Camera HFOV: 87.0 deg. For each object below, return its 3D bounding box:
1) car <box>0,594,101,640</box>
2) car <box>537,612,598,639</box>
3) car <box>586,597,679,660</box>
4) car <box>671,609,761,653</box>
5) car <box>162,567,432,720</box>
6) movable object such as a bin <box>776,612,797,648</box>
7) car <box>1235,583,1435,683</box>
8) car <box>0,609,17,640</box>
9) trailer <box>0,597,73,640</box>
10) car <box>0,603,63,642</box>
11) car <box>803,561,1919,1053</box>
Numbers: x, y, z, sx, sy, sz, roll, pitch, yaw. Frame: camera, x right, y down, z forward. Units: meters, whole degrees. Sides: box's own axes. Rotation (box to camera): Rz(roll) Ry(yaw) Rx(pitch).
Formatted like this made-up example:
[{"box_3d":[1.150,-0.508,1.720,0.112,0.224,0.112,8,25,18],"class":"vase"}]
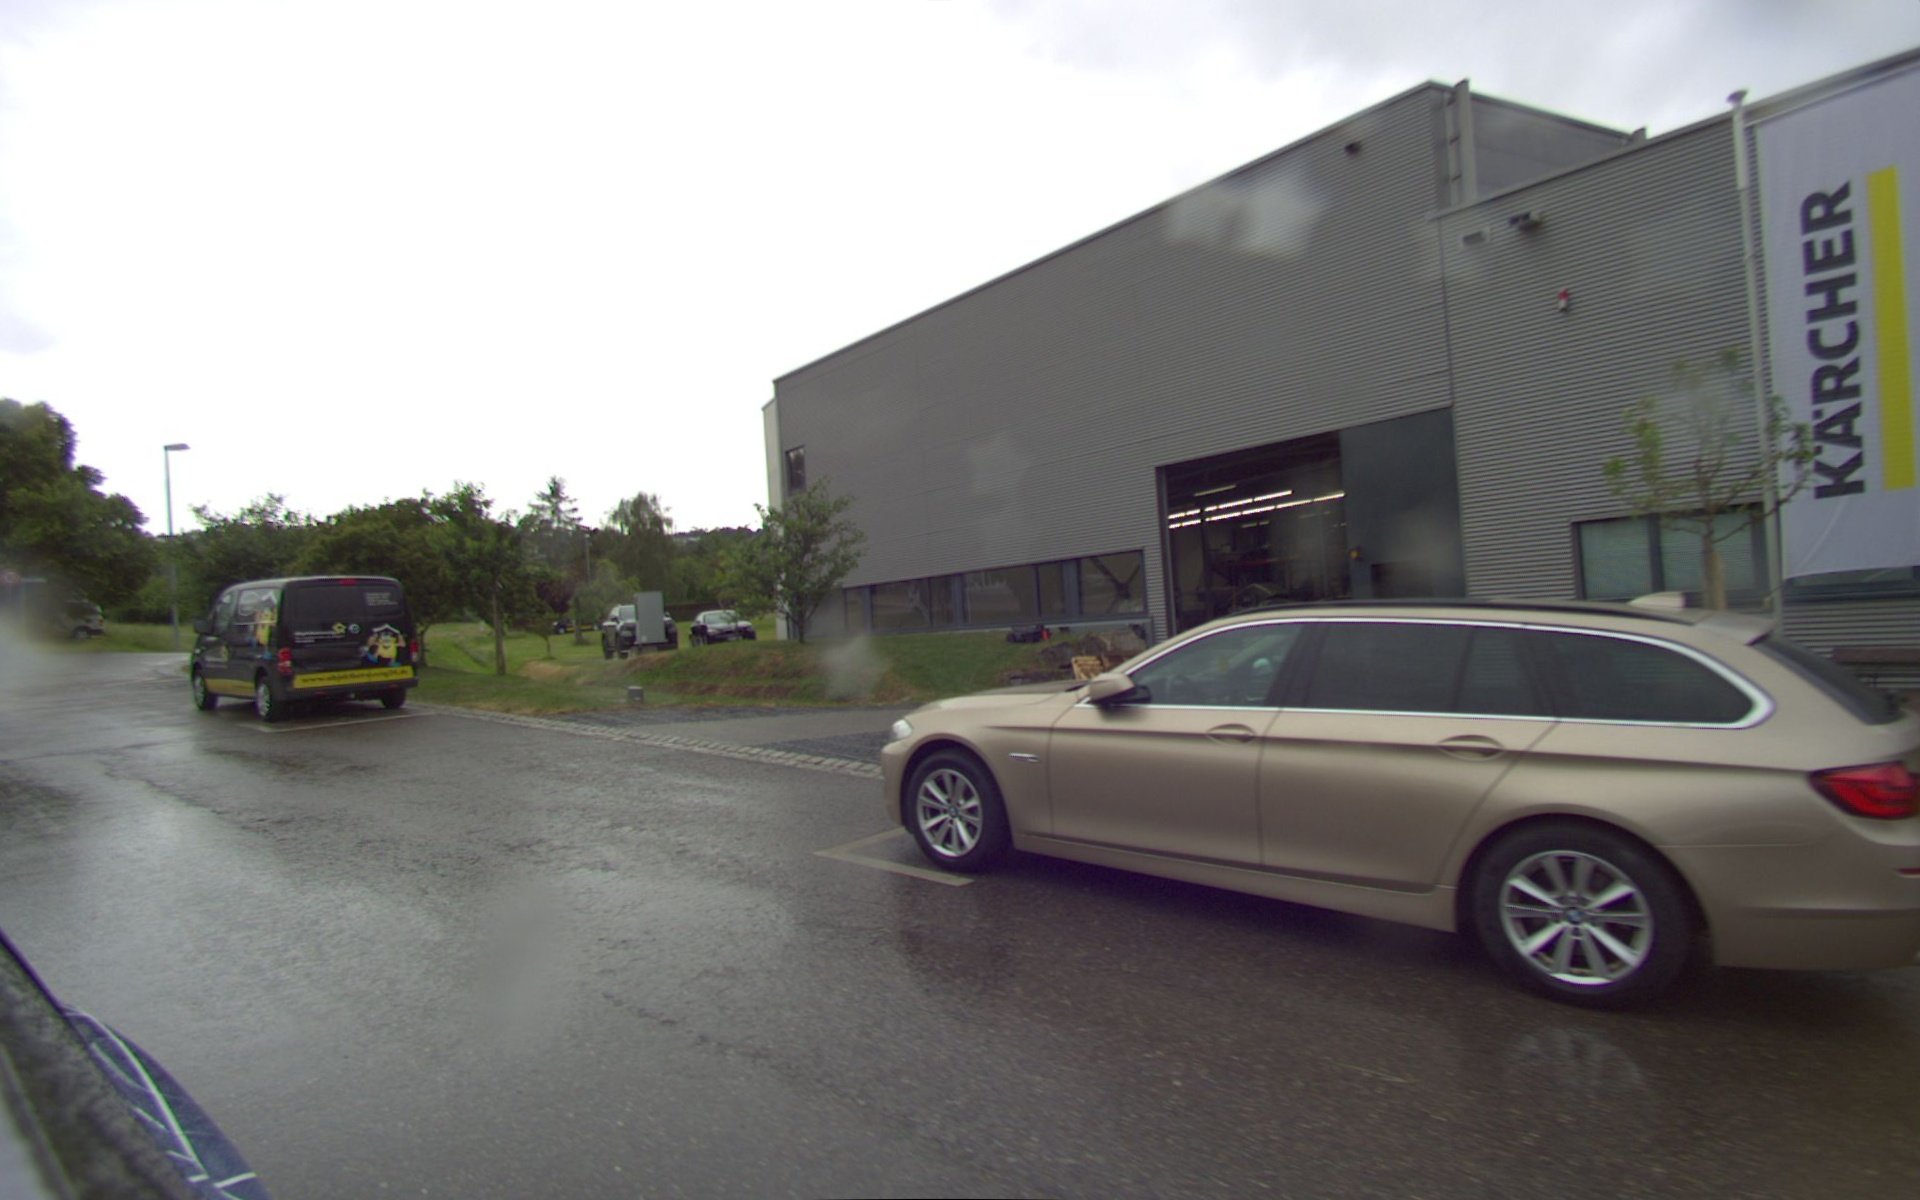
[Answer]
[{"box_3d":[-40.347,0.735,44.099,1.861,1.920,4.255,0,0,41],"class":"car"},{"box_3d":[-32.524,2.117,83.842,4.427,2.237,1.935,1,-2,-32],"class":"car"},{"box_3d":[-11.510,1.045,35.291,2.099,1.936,5.627,-2,-2,-28],"class":"car"},{"box_3d":[-8.657,1.053,35.622,1.965,1.407,4.705,0,-1,-28],"class":"car"},{"box_3d":[-9.605,0.536,14.495,4.843,1.845,1.896,-1,1,40],"class":"car"},{"box_3d":[-5.733,0.995,33.374,0.547,1.175,0.569,0,-2,-25],"class":"movable object such as a bin"},{"box_3d":[7.817,0.649,20.966,4.157,1.786,1.937,-2,-3,-39],"class":"car"},{"box_3d":[-52.829,1.390,53.137,1.802,1.601,4.578,0,2,36],"class":"car"},{"box_3d":[-46.357,0.892,49.486,1.770,1.999,4.175,0,0,36],"class":"trailer"},{"box_3d":[-44.569,1.054,46.933,1.750,1.734,4.163,0,0,33],"class":"car"},{"box_3d":[1.701,0.644,5.206,5.241,1.472,1.937,-1,0,39],"class":"car"}]
